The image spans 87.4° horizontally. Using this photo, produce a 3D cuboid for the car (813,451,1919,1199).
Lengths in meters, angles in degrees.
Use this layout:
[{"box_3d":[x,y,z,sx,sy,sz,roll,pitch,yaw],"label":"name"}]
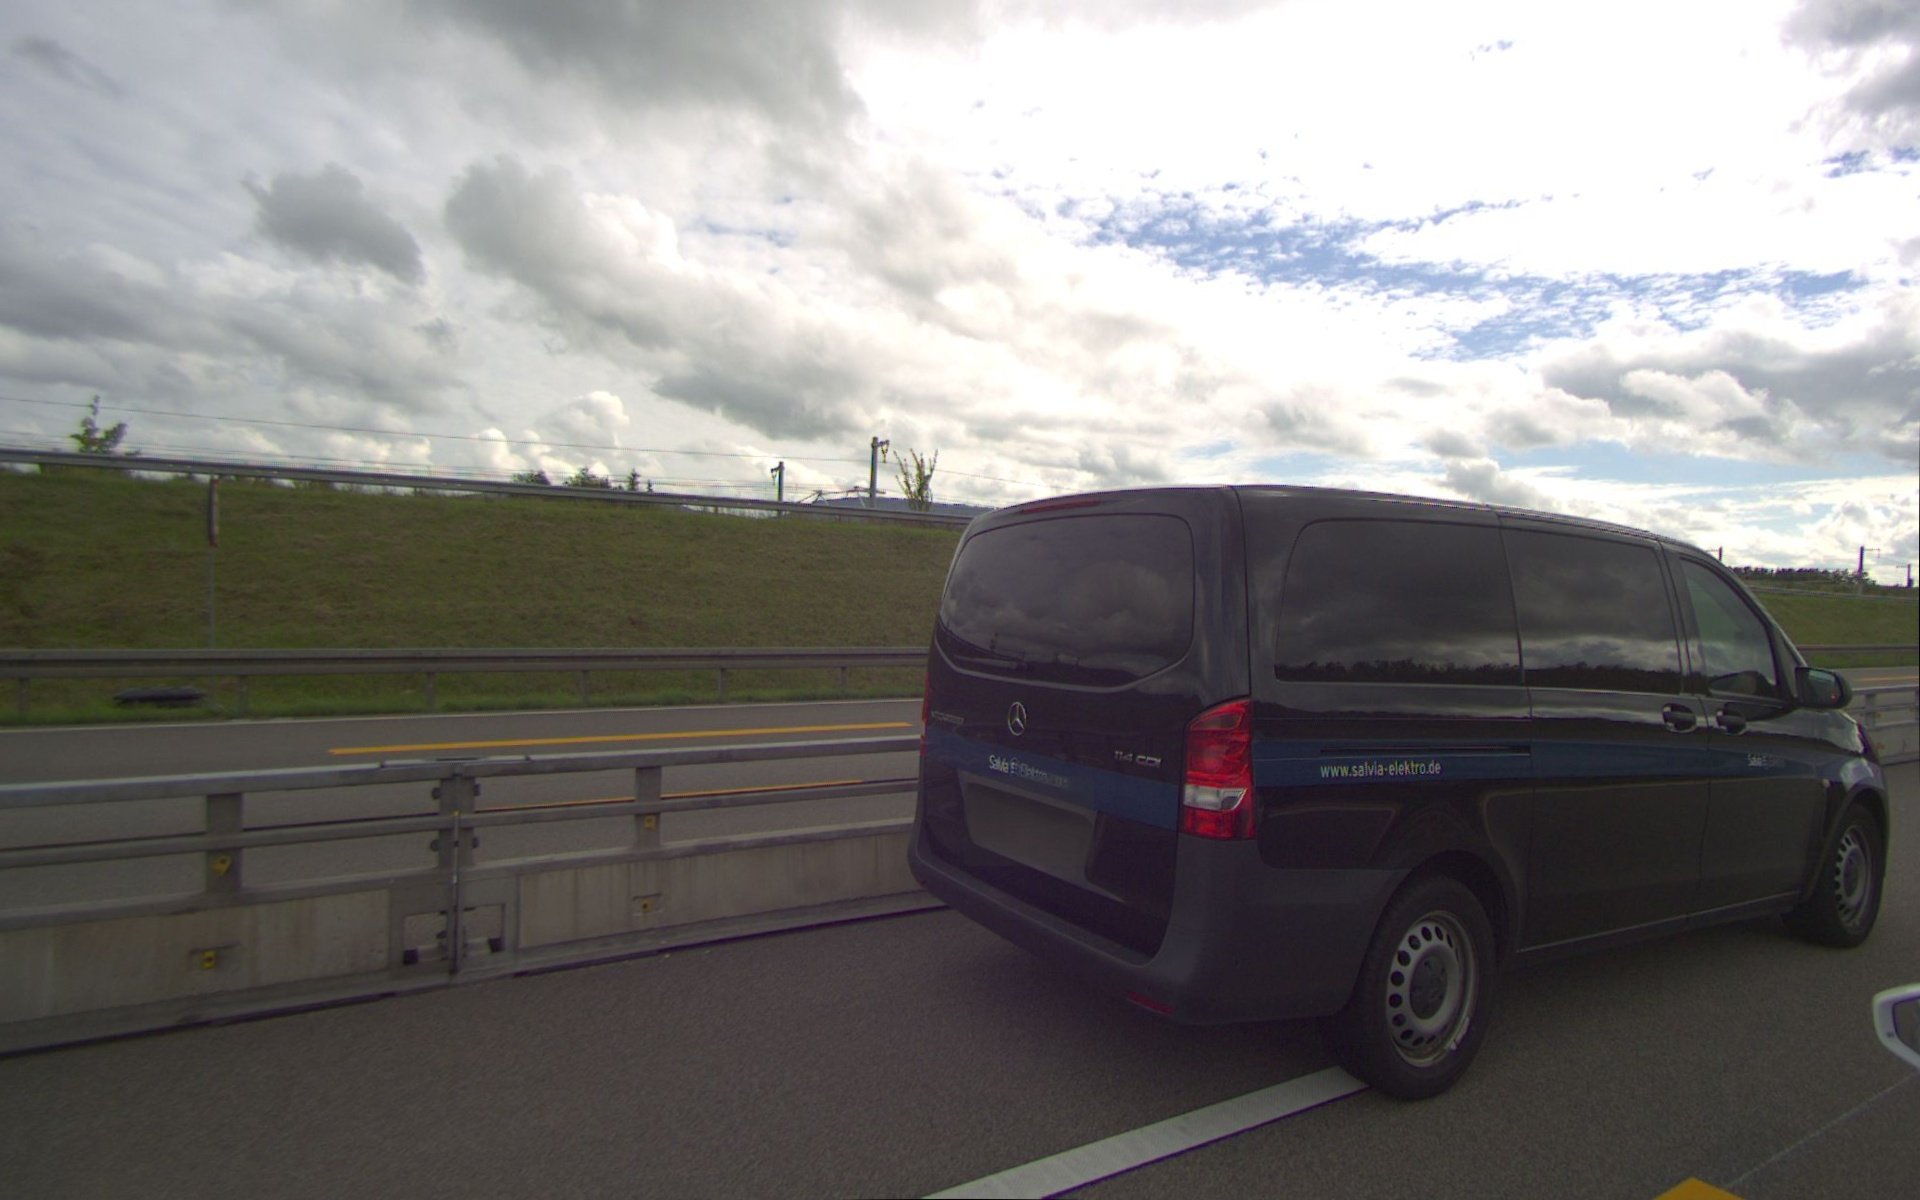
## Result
[{"box_3d":[2.297,0.658,4.593,5.544,1.867,1.984,2,-1,-31],"label":"car"}]
